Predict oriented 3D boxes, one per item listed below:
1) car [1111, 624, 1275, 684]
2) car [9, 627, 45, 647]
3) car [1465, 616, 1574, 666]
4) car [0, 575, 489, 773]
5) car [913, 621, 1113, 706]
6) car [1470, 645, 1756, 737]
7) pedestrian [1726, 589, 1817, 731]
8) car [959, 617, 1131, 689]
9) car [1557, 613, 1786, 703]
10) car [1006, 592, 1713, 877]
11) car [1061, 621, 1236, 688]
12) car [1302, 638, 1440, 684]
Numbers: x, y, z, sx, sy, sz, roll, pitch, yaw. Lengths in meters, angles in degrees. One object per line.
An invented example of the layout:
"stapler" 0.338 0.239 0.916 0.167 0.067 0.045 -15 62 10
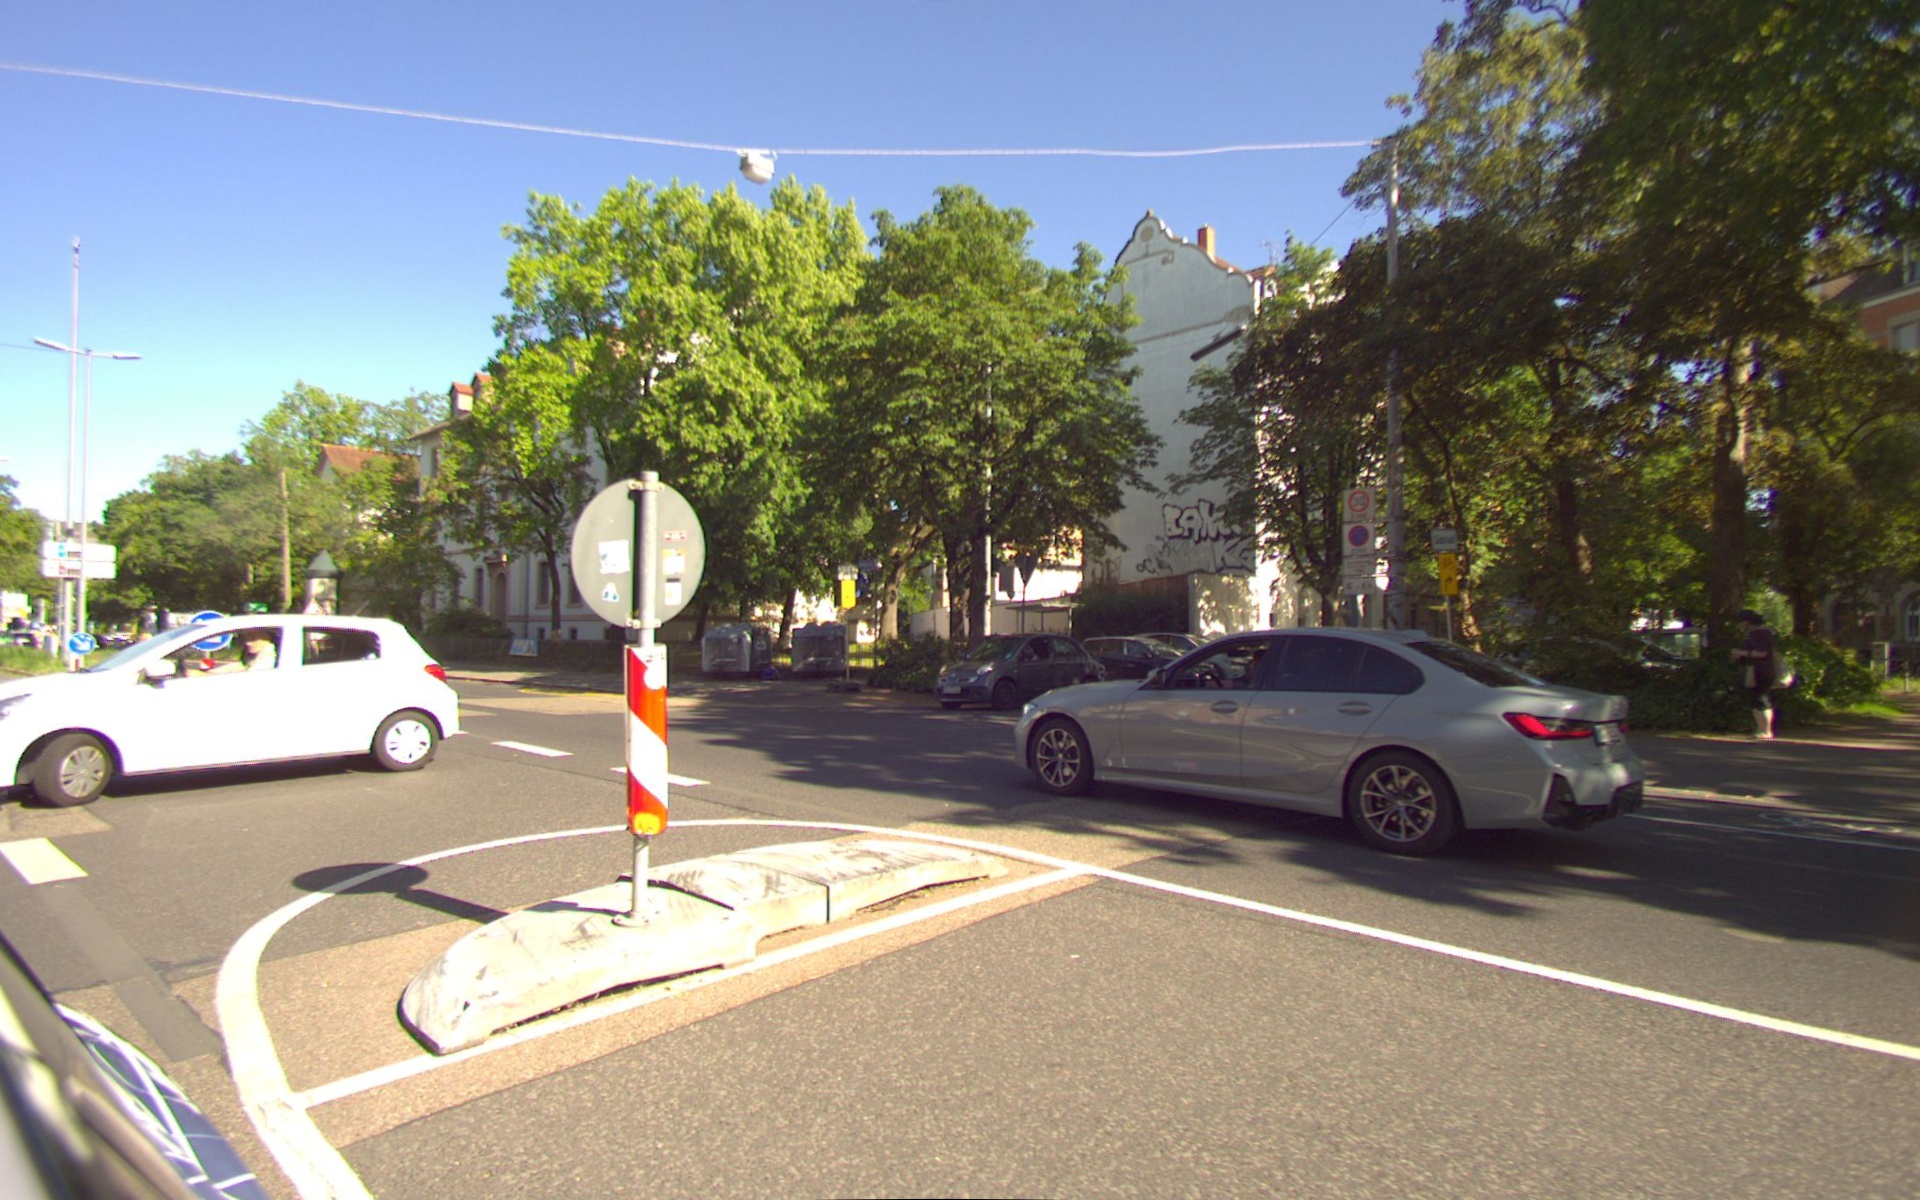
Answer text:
"car" 7.030 1.631 30.937 1.865 1.701 4.705 4 -4 -42
"car" -70.653 2.800 76.656 3.715 1.439 1.573 -1 -4 41
"car" 30.843 2.277 55.892 4.920 2.643 1.867 -2 -4 45
"car" -6.565 0.651 9.137 3.836 1.469 1.656 4 -4 -41
"car" 1.105 1.247 20.016 3.722 1.502 1.847 4 -4 -41
"car" 13.598 1.821 21.397 1.863 1.701 4.711 3 -4 -35
"pedestrian" 10.573 0.769 13.219 0.818 1.768 0.862 -1 -2 34
"car" 2.087 1.357 26.211 1.863 1.701 4.711 3 -4 -35
"car" 19.627 1.577 28.086 1.866 2.263 4.920 4 -4 -44
"car" 2.643 0.804 7.727 1.782 1.505 4.718 2 -3 -42
"car" 5.298 1.511 28.924 1.866 1.701 4.704 4 -3 -43
"car" 15.995 2.348 39.596 1.864 1.701 4.708 3 -4 -38
